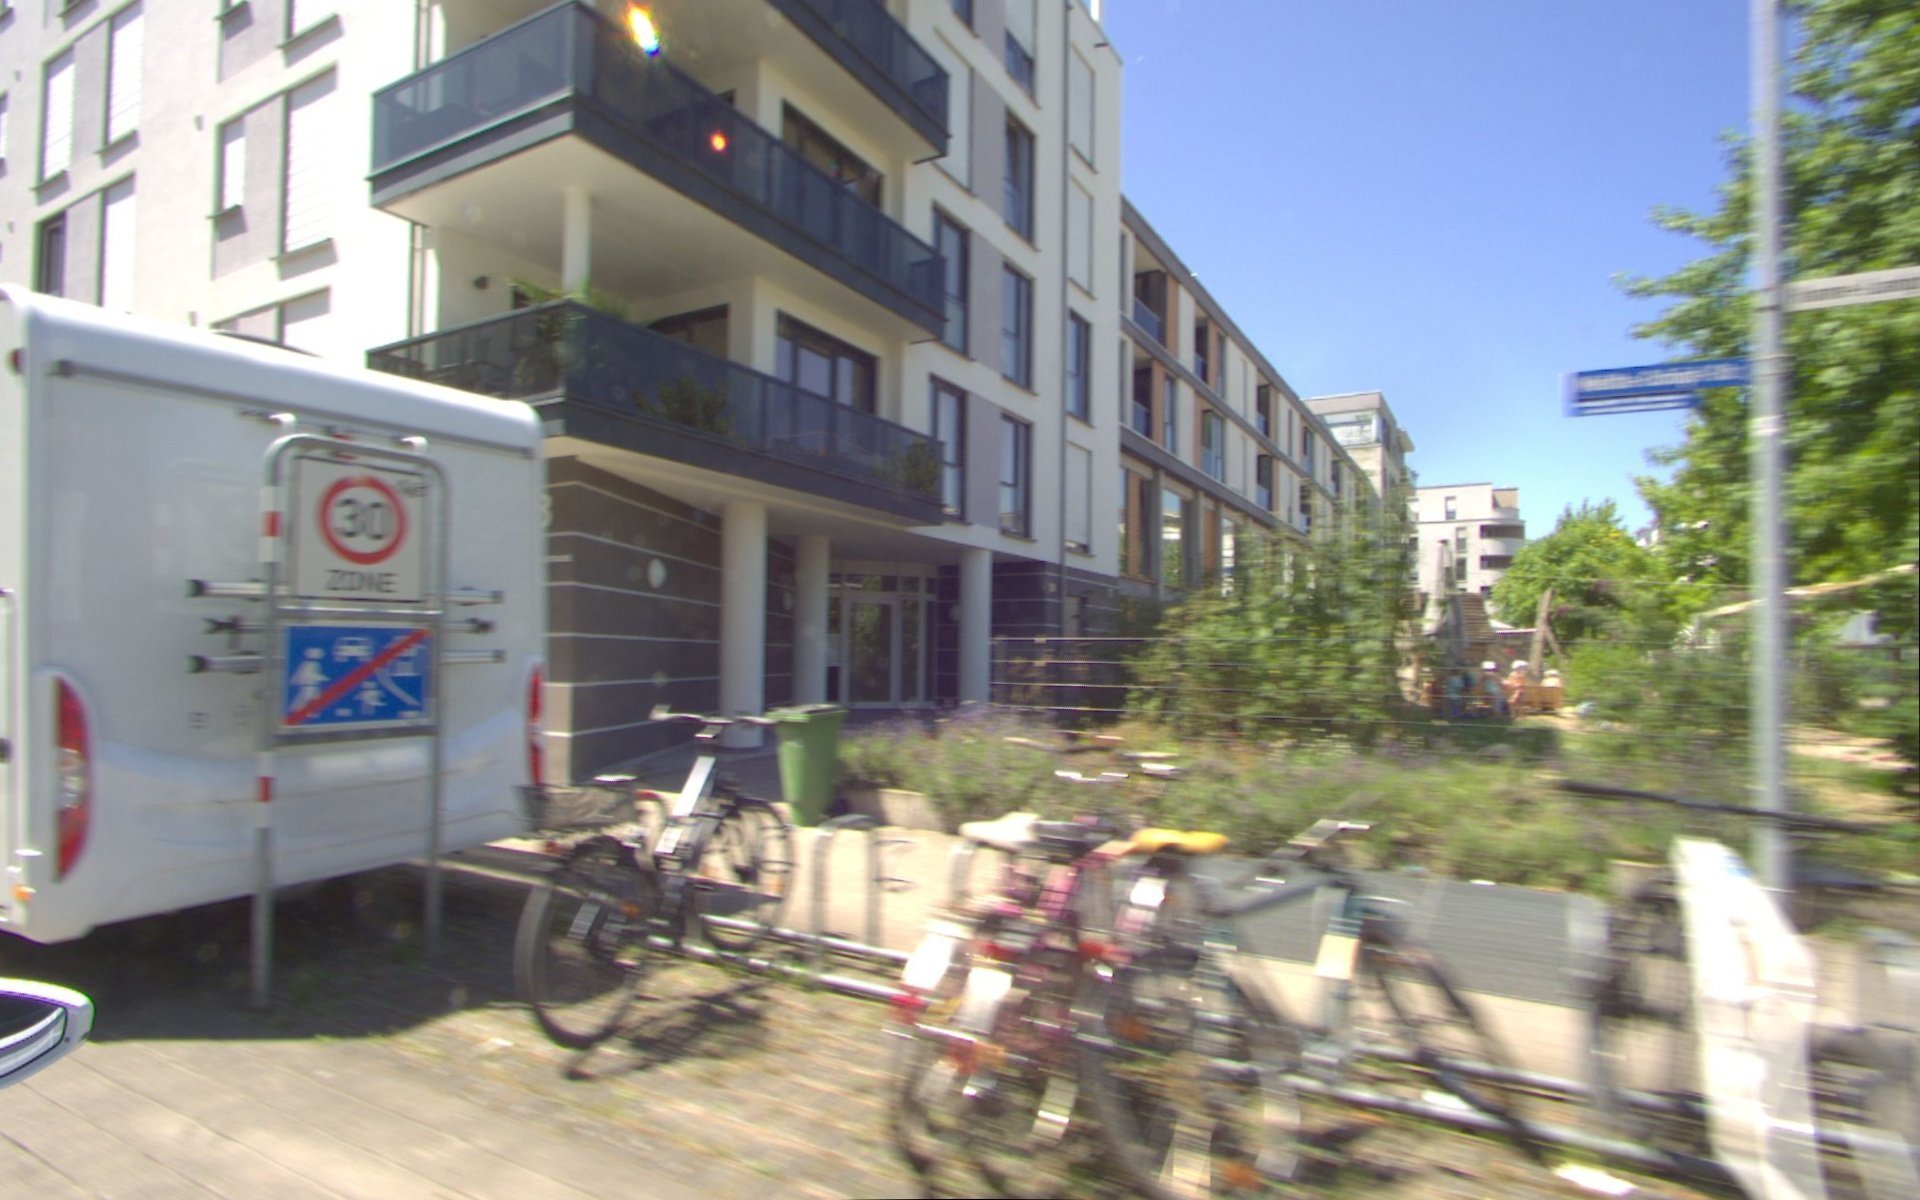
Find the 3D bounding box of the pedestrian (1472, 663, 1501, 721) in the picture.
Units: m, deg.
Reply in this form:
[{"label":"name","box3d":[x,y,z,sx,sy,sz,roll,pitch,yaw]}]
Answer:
[{"label":"pedestrian","box3d":[9.300,1.623,17.674,0.366,0.998,0.409,-1,-4,42]}]

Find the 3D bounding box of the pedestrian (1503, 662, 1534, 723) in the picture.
[{"label":"pedestrian","box3d":[9.605,1.586,17.225,0.406,1.037,0.281,3,-3,-28]}]

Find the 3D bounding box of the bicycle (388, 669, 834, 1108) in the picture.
[{"label":"bicycle","box3d":[-1.263,0.969,4.146,0.811,1.239,1.920,1,0,14]}]

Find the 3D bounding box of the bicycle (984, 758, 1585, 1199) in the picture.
[{"label":"bicycle","box3d":[1.023,1.072,2.835,0.935,0.987,1.843,-1,-2,43]}]

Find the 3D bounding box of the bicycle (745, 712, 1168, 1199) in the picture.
[{"label":"bicycle","box3d":[0.135,0.995,3.289,0.469,1.124,1.881,0,-2,31]}]

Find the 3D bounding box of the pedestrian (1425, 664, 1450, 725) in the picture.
[{"label":"pedestrian","box3d":[7.981,1.571,16.727,0.321,0.998,0.326,-1,-4,37]}]

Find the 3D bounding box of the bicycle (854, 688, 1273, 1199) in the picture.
[{"label":"bicycle","box3d":[0.457,0.940,3.104,0.547,1.238,1.847,0,-2,31]}]

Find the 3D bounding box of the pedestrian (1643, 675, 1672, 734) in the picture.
[{"label":"pedestrian","box3d":[12.559,1.884,18.033,0.406,1.037,0.281,3,-3,-28]}]

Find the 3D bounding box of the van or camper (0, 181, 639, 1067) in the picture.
[{"label":"van or camper","box3d":[-5.718,0.212,6.302,7.709,2.941,2.438,-1,-4,30]}]

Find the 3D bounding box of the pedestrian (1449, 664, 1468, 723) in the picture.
[{"label":"pedestrian","box3d":[8.627,1.621,17.335,0.243,0.998,0.281,0,-4,36]}]

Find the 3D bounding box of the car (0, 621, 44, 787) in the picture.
[{"label":"car","box3d":[-10.921,0.970,9.674,4.195,1.524,1.806,-1,-1,29]}]

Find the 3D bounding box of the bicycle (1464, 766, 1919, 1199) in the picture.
[{"label":"bicycle","box3d":[1.821,1.047,2.330,0.859,1.016,2.030,0,-2,18]}]

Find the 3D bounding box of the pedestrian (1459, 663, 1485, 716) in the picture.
[{"label":"pedestrian","box3d":[9.927,1.735,19.426,0.405,0.998,0.370,1,-3,20]}]
